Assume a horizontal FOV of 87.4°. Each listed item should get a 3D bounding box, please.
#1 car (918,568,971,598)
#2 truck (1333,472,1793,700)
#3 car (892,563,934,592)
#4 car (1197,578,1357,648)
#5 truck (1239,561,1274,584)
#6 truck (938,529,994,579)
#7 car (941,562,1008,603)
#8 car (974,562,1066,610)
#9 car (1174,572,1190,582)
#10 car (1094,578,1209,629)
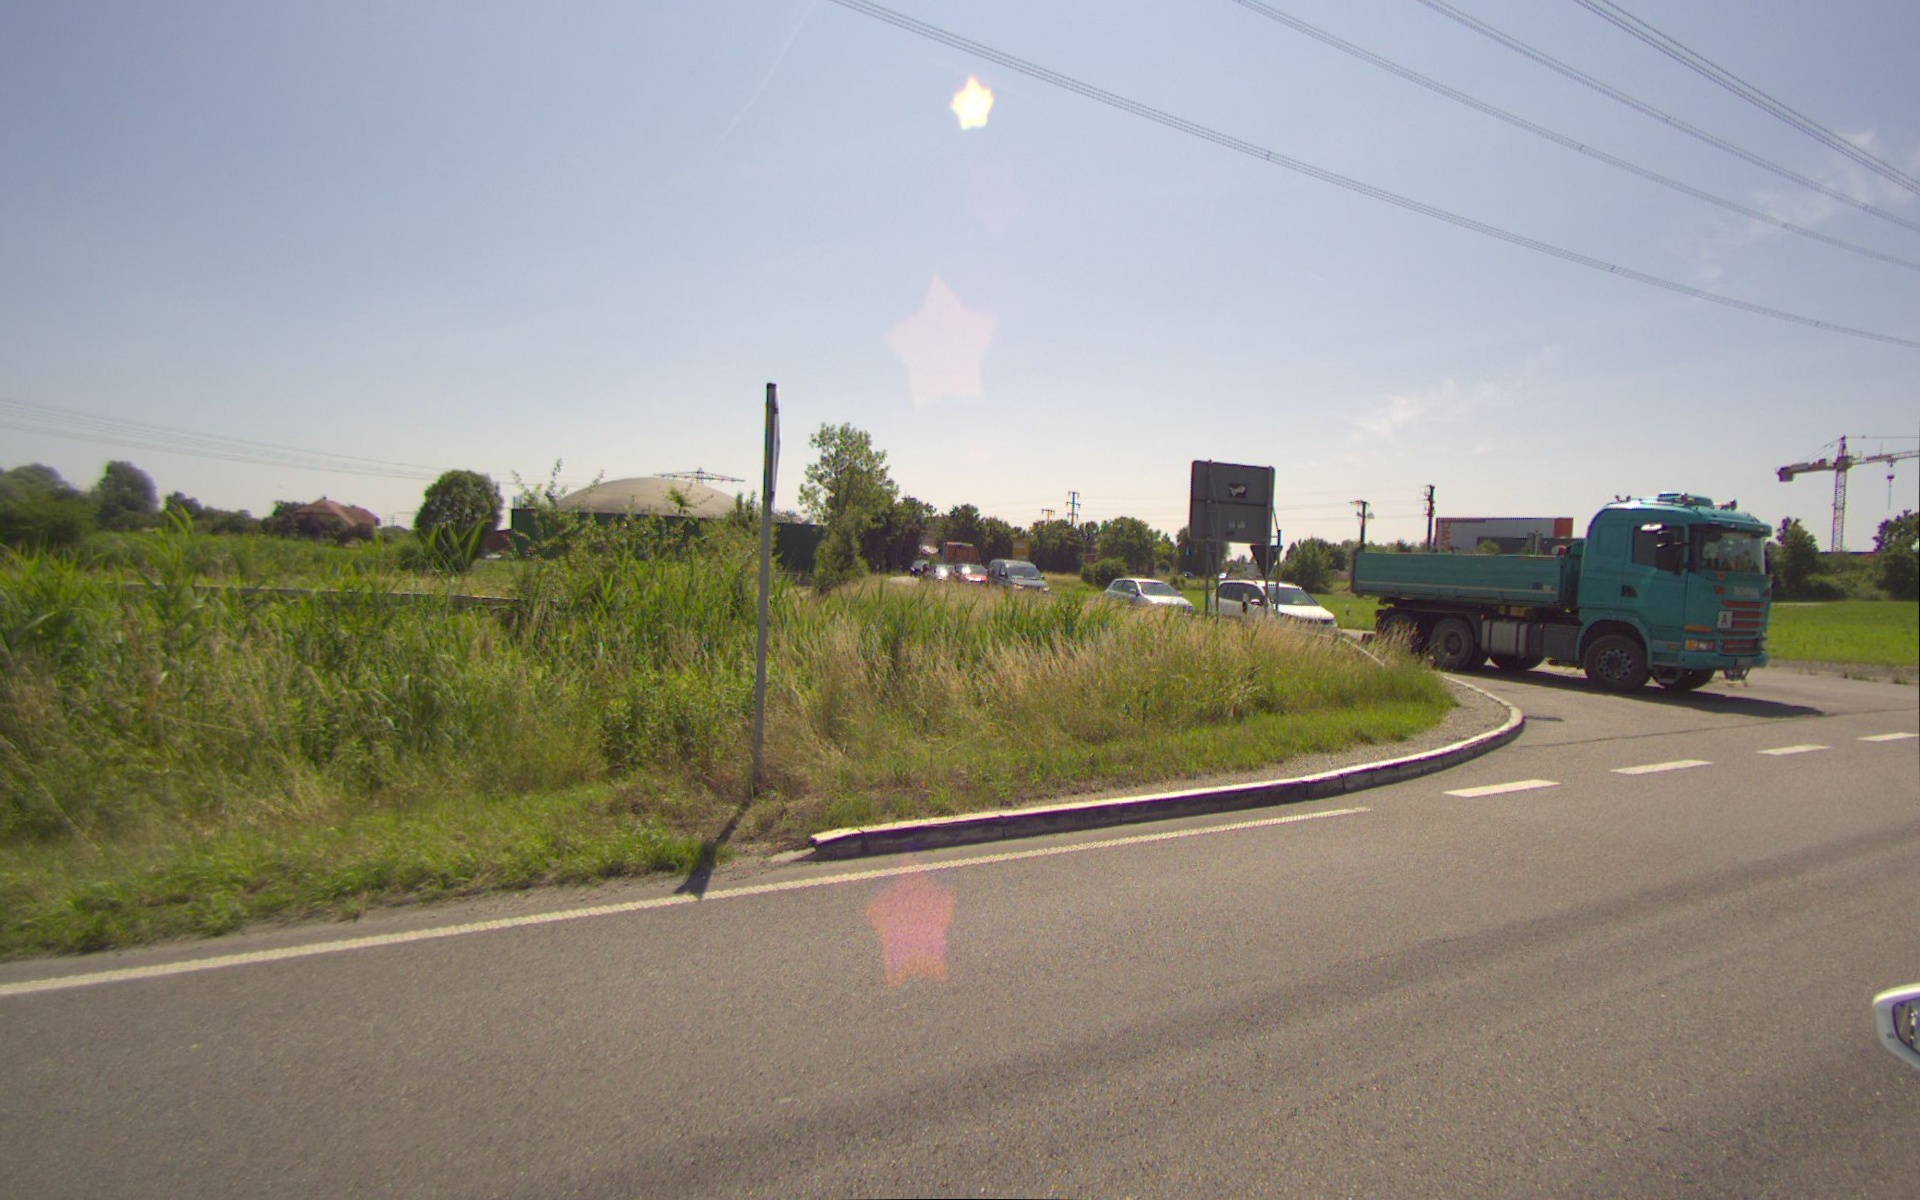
[{"bbox_3d":[-0.900,-0.980,55.411,1.754,1.498,3.982,2,2,-19],"label":"car"},{"bbox_3d":[11.770,-0.410,20.759,2.466,3.785,7.873,1,3,-27],"label":"truck"},{"bbox_3d":[-2.927,-1.352,61.852,1.965,1.691,3.990,2,1,-12],"label":"car"},{"bbox_3d":[8.443,0.281,27.240,1.935,1.634,4.540,2,2,-15],"label":"car"},{"bbox_3d":[65.337,-6.010,221.335,3.627,4.708,13.202,3,1,33],"label":"truck"},{"bbox_3d":[0.299,-3.265,73.926,2.777,3.332,9.687,1,1,-8],"label":"truck"},{"bbox_3d":[0.639,-0.916,49.672,1.886,1.874,4.463,2,2,-19],"label":"car"},{"bbox_3d":[2.480,-0.639,43.195,2.057,1.893,4.927,0,2,-21],"label":"car"},{"bbox_3d":[40.362,-4.233,182.677,1.963,1.702,3.994,2,1,27],"label":"car"},{"bbox_3d":[6.186,0.068,33.014,1.692,1.490,4.427,2,1,-19],"label":"car"}]
